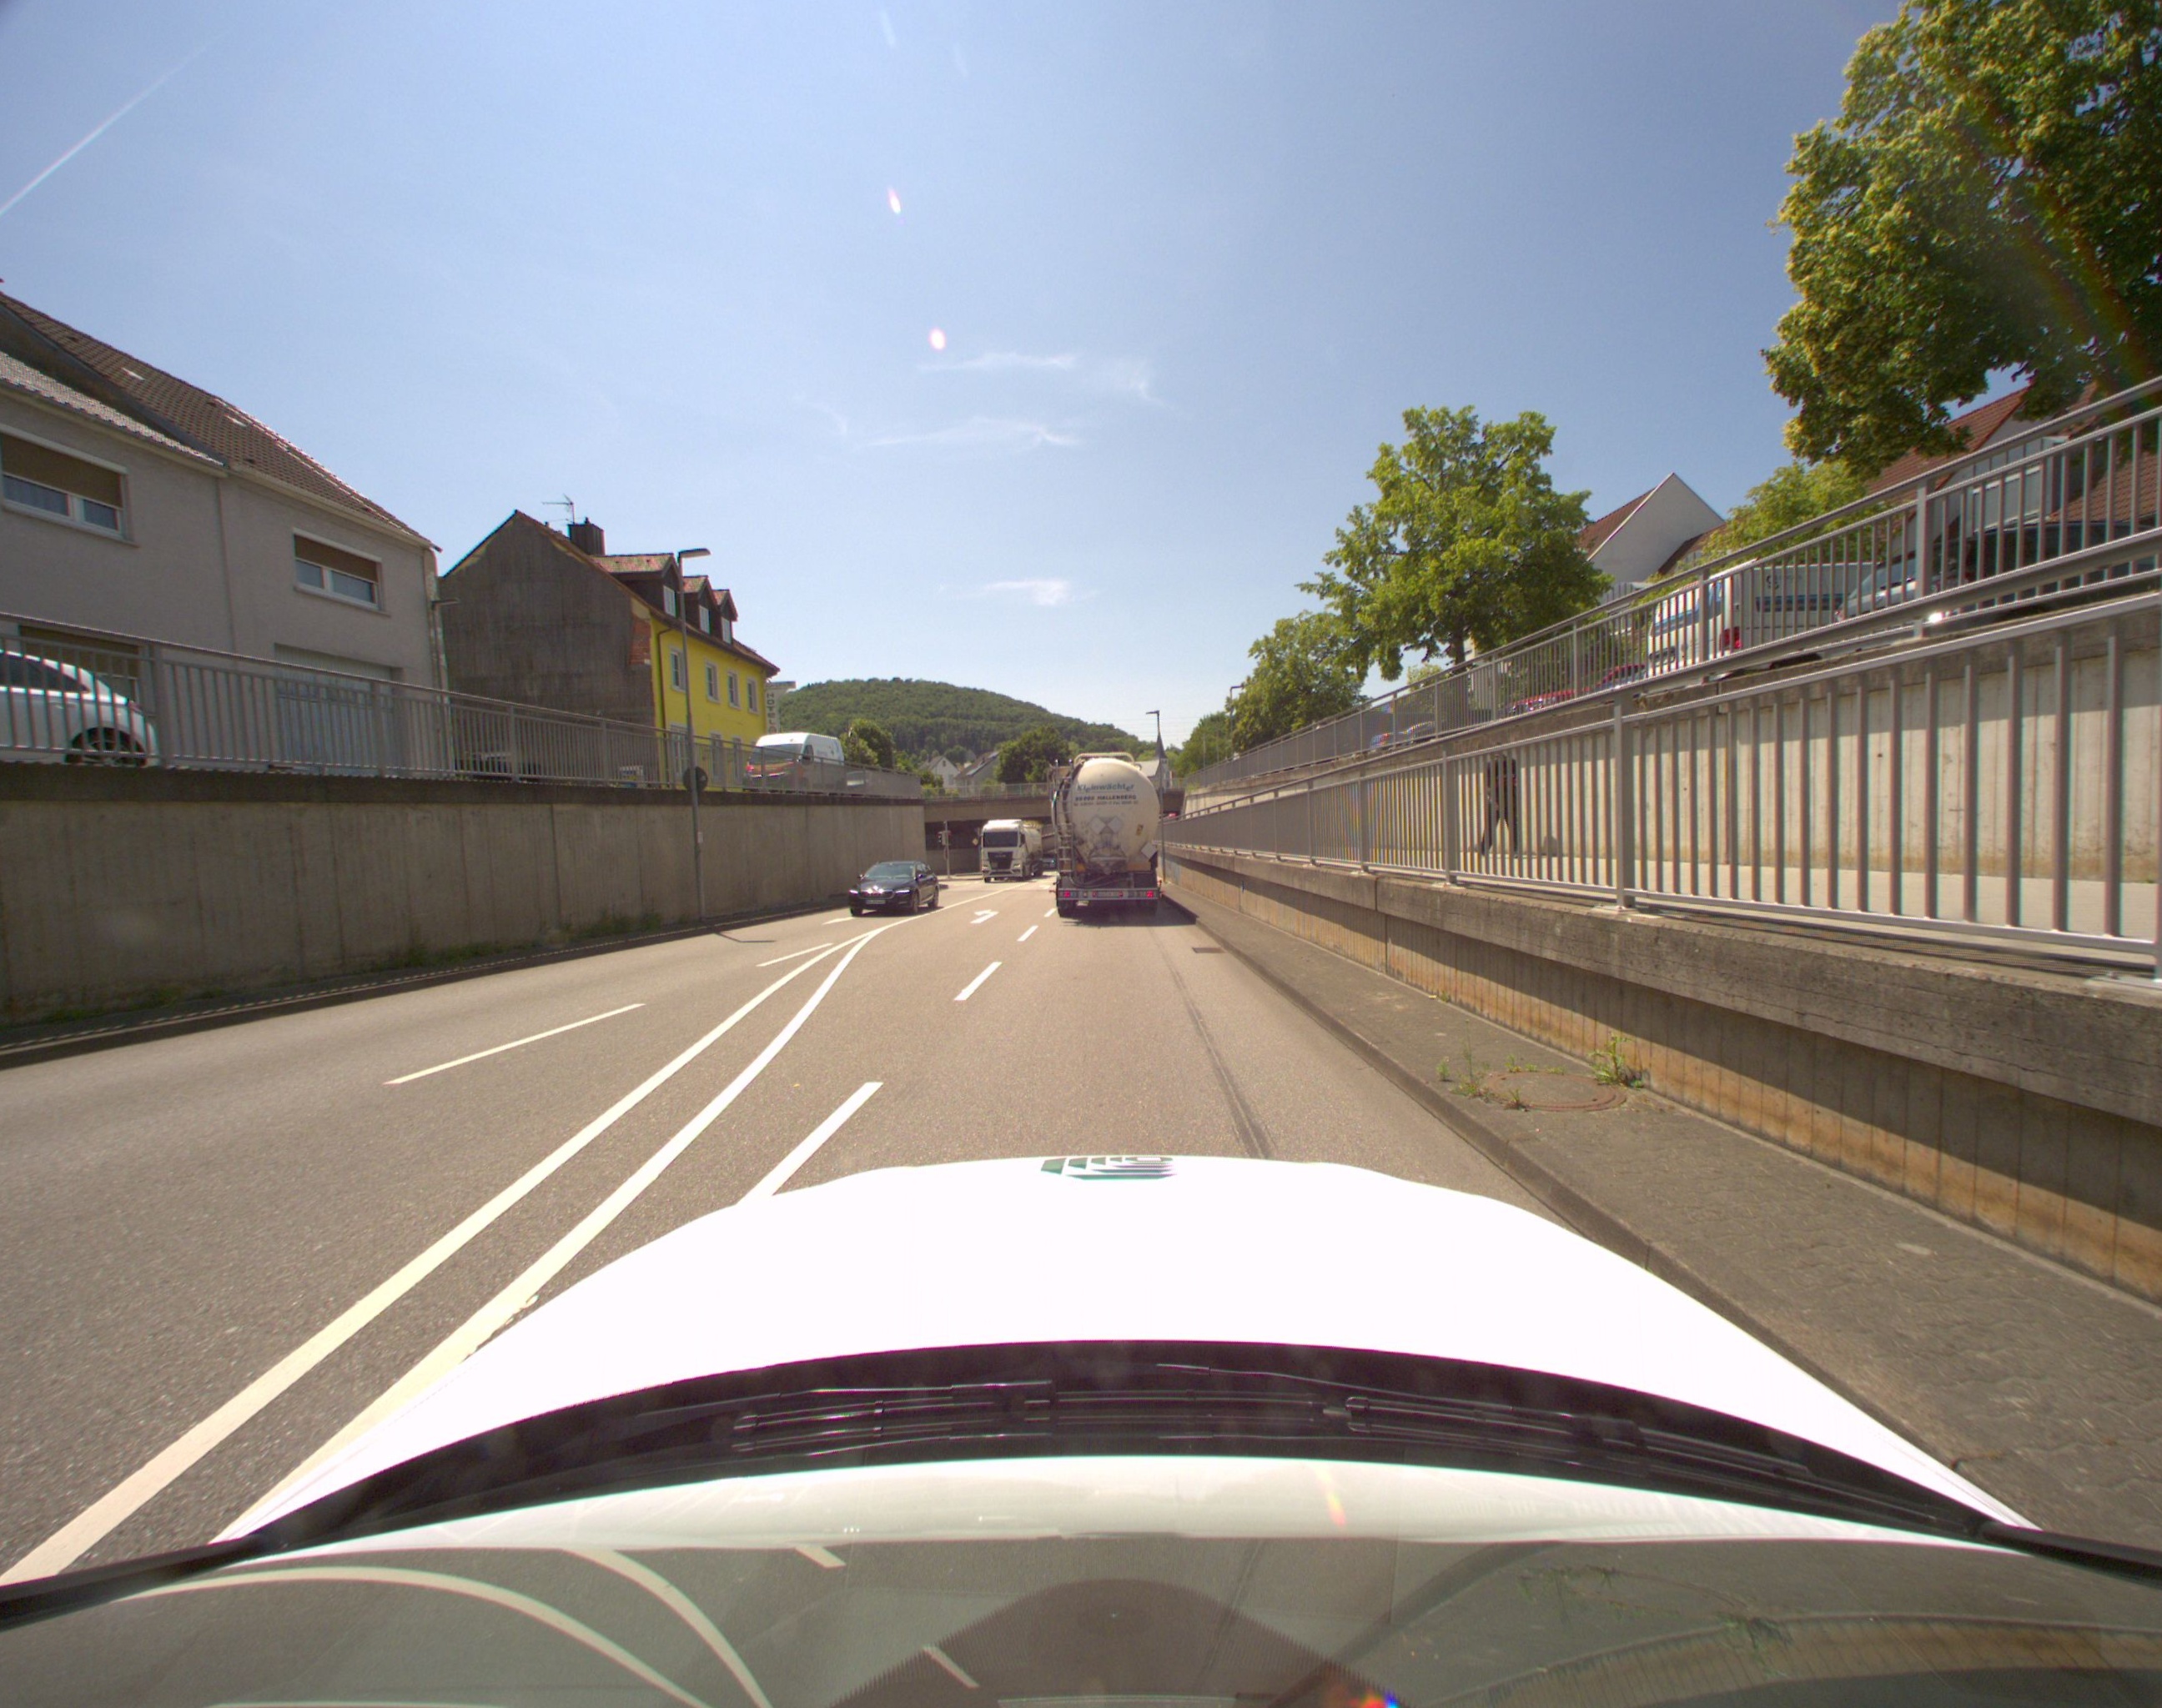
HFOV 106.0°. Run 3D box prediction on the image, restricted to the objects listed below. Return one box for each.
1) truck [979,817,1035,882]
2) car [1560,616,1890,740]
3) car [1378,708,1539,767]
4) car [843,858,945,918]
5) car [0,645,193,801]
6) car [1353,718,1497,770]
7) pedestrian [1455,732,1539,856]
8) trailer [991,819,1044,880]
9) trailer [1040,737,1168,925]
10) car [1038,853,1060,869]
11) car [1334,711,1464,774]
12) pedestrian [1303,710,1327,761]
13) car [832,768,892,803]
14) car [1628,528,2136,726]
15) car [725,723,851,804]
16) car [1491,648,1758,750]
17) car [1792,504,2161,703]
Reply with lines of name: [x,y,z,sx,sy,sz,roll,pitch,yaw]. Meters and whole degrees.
truck: [-4.705,-0.251,52.815,2.651,3.860,6.584,-1,0,2]
car: [10.651,-2.896,13.702,4.187,1.595,1.688,-2,3,2]
car: [10.855,-3.352,23.597,3.890,1.367,1.688,-2,3,2]
car: [-5.243,0.901,23.440,1.754,1.489,4.371,-1,0,2]
car: [-11.274,-1.233,7.312,1.808,1.462,4.309,-1,3,-1]
car: [10.929,-3.484,26.037,3.890,1.367,1.688,-2,3,2]
pedestrian: [6.273,-0.887,12.317,0.833,1.782,0.789,-2,0,2]
trailer: [-4.428,-0.275,58.695,2.599,3.964,9.352,-1,0,3]
trailer: [0.778,-0.490,24.556,2.724,4.064,13.320,-1,0,2]
car: [-2.951,0.649,75.528,1.675,1.440,4.096,1,0,3]
car: [11.037,-3.872,28.470,3.890,1.884,1.688,-2,3,2]
pedestrian: [8.662,-4.387,30.177,0.670,1.779,0.595,-2,2,3]
car: [-10.254,-3.176,38.469,1.612,1.500,4.047,-1,3,2]
car: [10.931,-3.052,11.457,5.091,2.063,1.991,-2,3,2]
car: [-10.368,-3.124,29.423,2.056,2.535,5.669,-1,3,4]
car: [10.741,-3.044,16.305,4.187,1.595,1.688,-2,3,2]
car: [10.515,-2.646,8.778,4.187,1.595,1.688,-2,3,2]
